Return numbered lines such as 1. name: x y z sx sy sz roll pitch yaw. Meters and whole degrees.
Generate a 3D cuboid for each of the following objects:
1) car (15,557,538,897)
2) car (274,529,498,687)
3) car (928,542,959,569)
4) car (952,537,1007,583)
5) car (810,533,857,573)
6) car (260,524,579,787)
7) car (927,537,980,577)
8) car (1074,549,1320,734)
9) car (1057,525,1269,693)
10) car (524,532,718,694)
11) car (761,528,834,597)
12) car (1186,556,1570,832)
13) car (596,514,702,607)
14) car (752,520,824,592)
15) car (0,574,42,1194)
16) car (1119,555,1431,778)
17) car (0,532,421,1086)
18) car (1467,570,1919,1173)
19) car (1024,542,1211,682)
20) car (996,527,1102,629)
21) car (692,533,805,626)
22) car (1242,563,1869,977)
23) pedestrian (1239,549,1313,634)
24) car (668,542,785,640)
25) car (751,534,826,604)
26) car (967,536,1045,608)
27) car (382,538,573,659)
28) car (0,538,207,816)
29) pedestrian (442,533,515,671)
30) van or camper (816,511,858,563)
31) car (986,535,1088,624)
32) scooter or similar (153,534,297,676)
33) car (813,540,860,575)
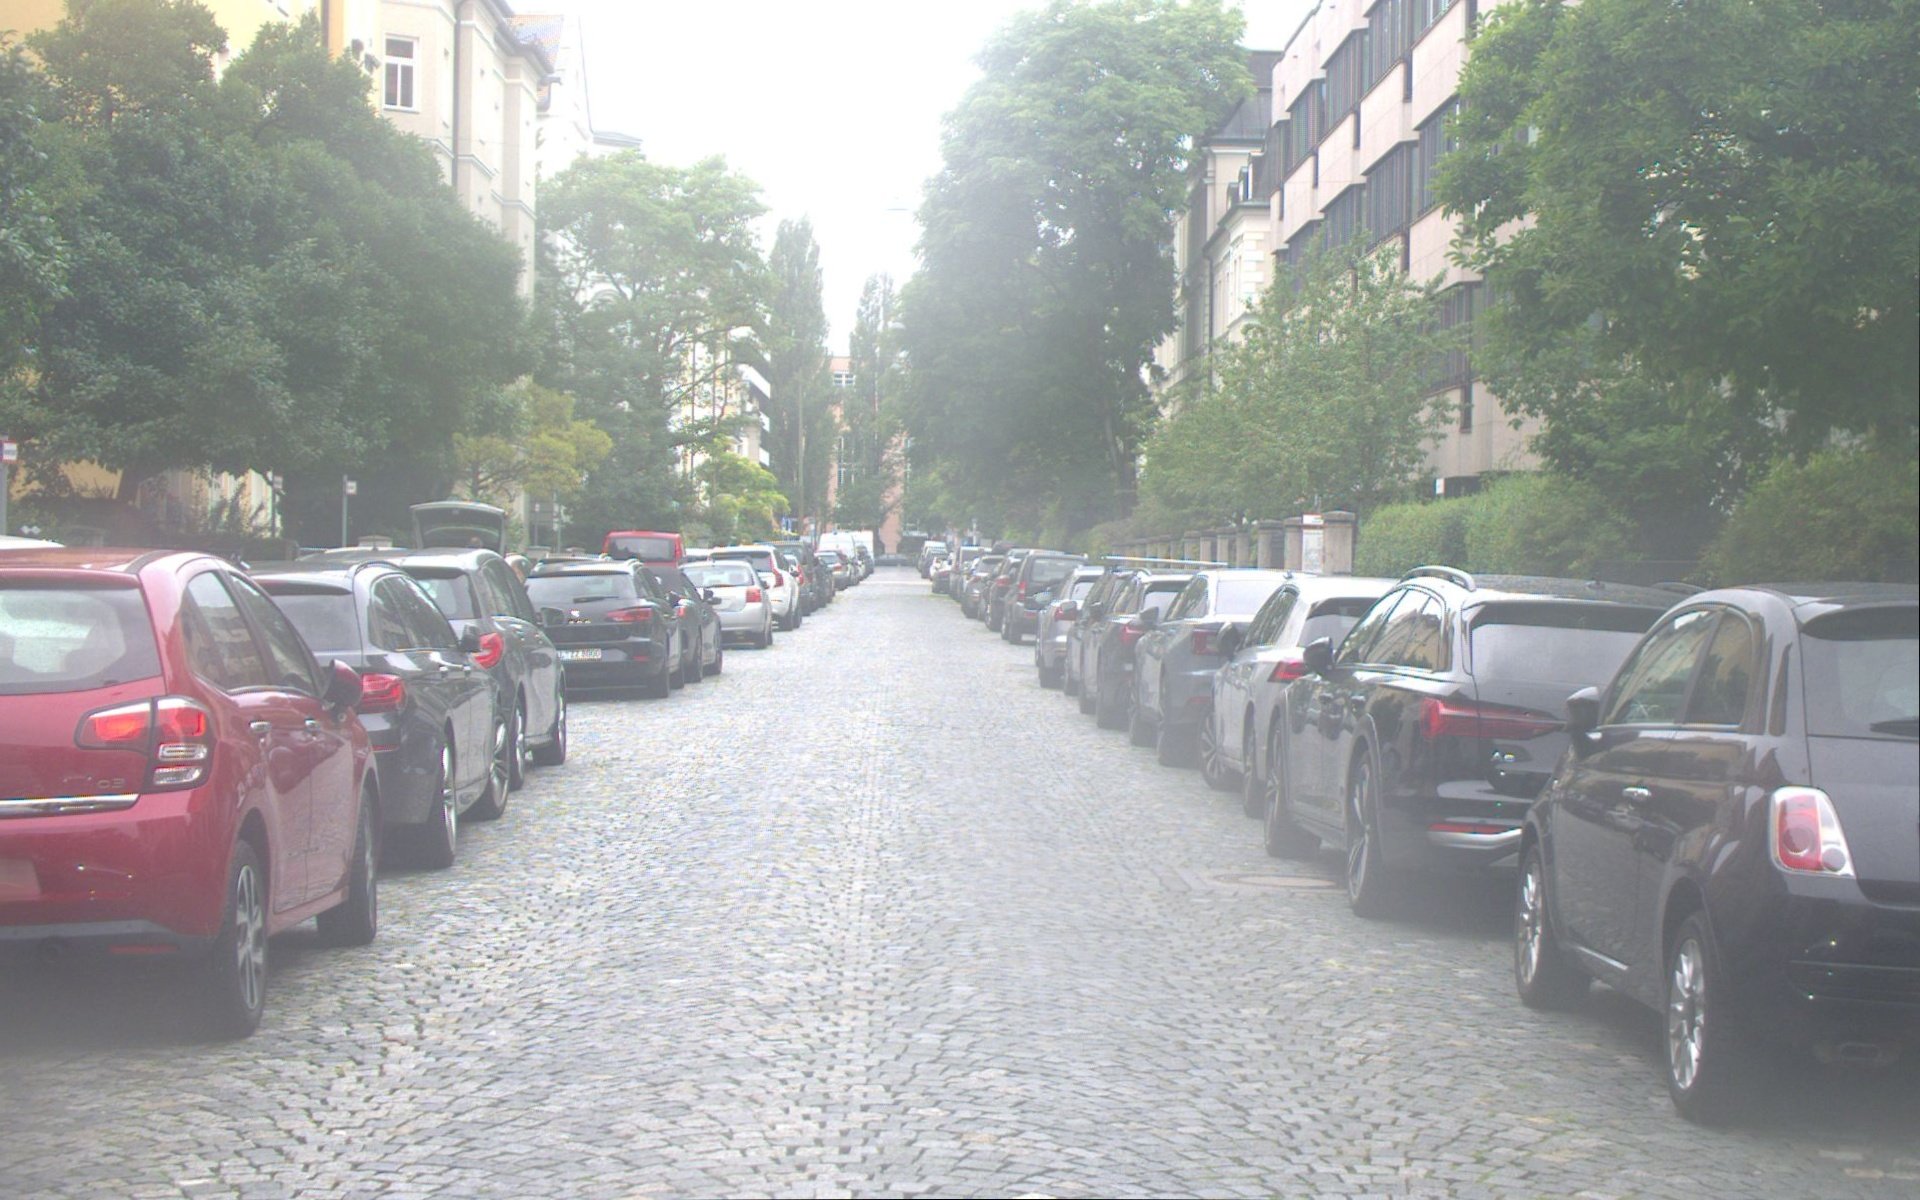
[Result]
1. car: -3.328 0.529 17.731 1.869 1.465 5.134 -1 1 -3
2. car: -6.087 0.051 36.925 1.739 1.531 4.467 2 1 -2
3. car: -0.950 -2.595 200.710 1.790 1.515 4.000 1 1 0
4. car: 0.663 -1.413 121.324 1.837 1.485 4.421 3 1 0
5. car: -5.399 -2.017 146.758 1.873 1.574 4.256 -2 1 -3
6. car: -3.527 0.307 23.061 1.739 1.580 4.193 -1 1 -4
7. car: -0.278 -1.749 139.018 1.873 1.498 4.512 3 1 -3
8. car: 2.119 0.320 32.035 1.819 1.483 5.050 3 1 -1
9. car: 2.132 0.060 37.236 1.893 1.648 4.294 2 1 -1
10. car: -3.570 0.097 36.873 1.739 1.598 4.538 -1 1 -2
11. car: -4.795 -1.137 102.168 1.993 1.910 5.178 -3 1 -2
12. car: 2.509 0.504 21.653 1.755 1.455 4.480 3 1 -1
13. car: -6.901 -0.896 76.735 1.994 1.924 5.331 2 1 -2
14. car: -4.756 -1.233 95.705 1.873 1.910 4.828 -2 1 -2
15. car: -3.205 0.743 6.404 1.818 1.504 4.643 -3 0 -2
16. car: 2.358 0.443 26.903 1.882 1.483 4.814 3 1 -1
17. car: -3.051 0.577 11.950 1.841 1.580 4.193 -1 1 -2
18. car: 2.772 0.715 10.717 1.667 1.503 3.686 3 1 -2
19. car: 1.859 0.096 42.112 1.993 1.546 4.986 2 1 0
20. car: 1.617 -0.434 63.587 1.618 1.745 3.888 3 1 -2
21. car: -4.338 -0.449 71.153 2.006 1.802 5.175 -1 1 0
22. car: 2.537 0.637 15.987 1.904 1.497 5.106 3 1 -1
23. pedestrian: 5.713 -0.154 62.222 1.217 1.488 1.129 -2 1 1
24. car: -3.890 -0.183 57.789 1.713 1.557 4.391 -1 1 -1
25. car: -4.548 -0.835 90.595 1.865 1.729 4.404 -2 1 -4
26. car: 1.161 -0.739 88.334 1.873 1.729 4.892 3 1 0
27. car: -6.121 -0.061 44.084 1.776 1.412 4.561 2 1 0
28. car: -5.877 0.365 20.512 1.841 1.461 4.390 2 1 -1
29. pedestrian: -5.811 0.018 41.498 0.766 1.644 0.582 1 1 0
30. van or camper: -6.413 -3.287 179.688 1.993 2.643 4.000 -2 1 0
31. car: 1.583 -0.447 72.048 1.860 1.696 4.813 3 1 -1
32. scooter or similar: -8.170 0.030 38.341 1.062 1.518 2.635 0 1 -1
33. car: -5.915 -2.040 164.849 1.873 1.574 4.208 3 1 2
